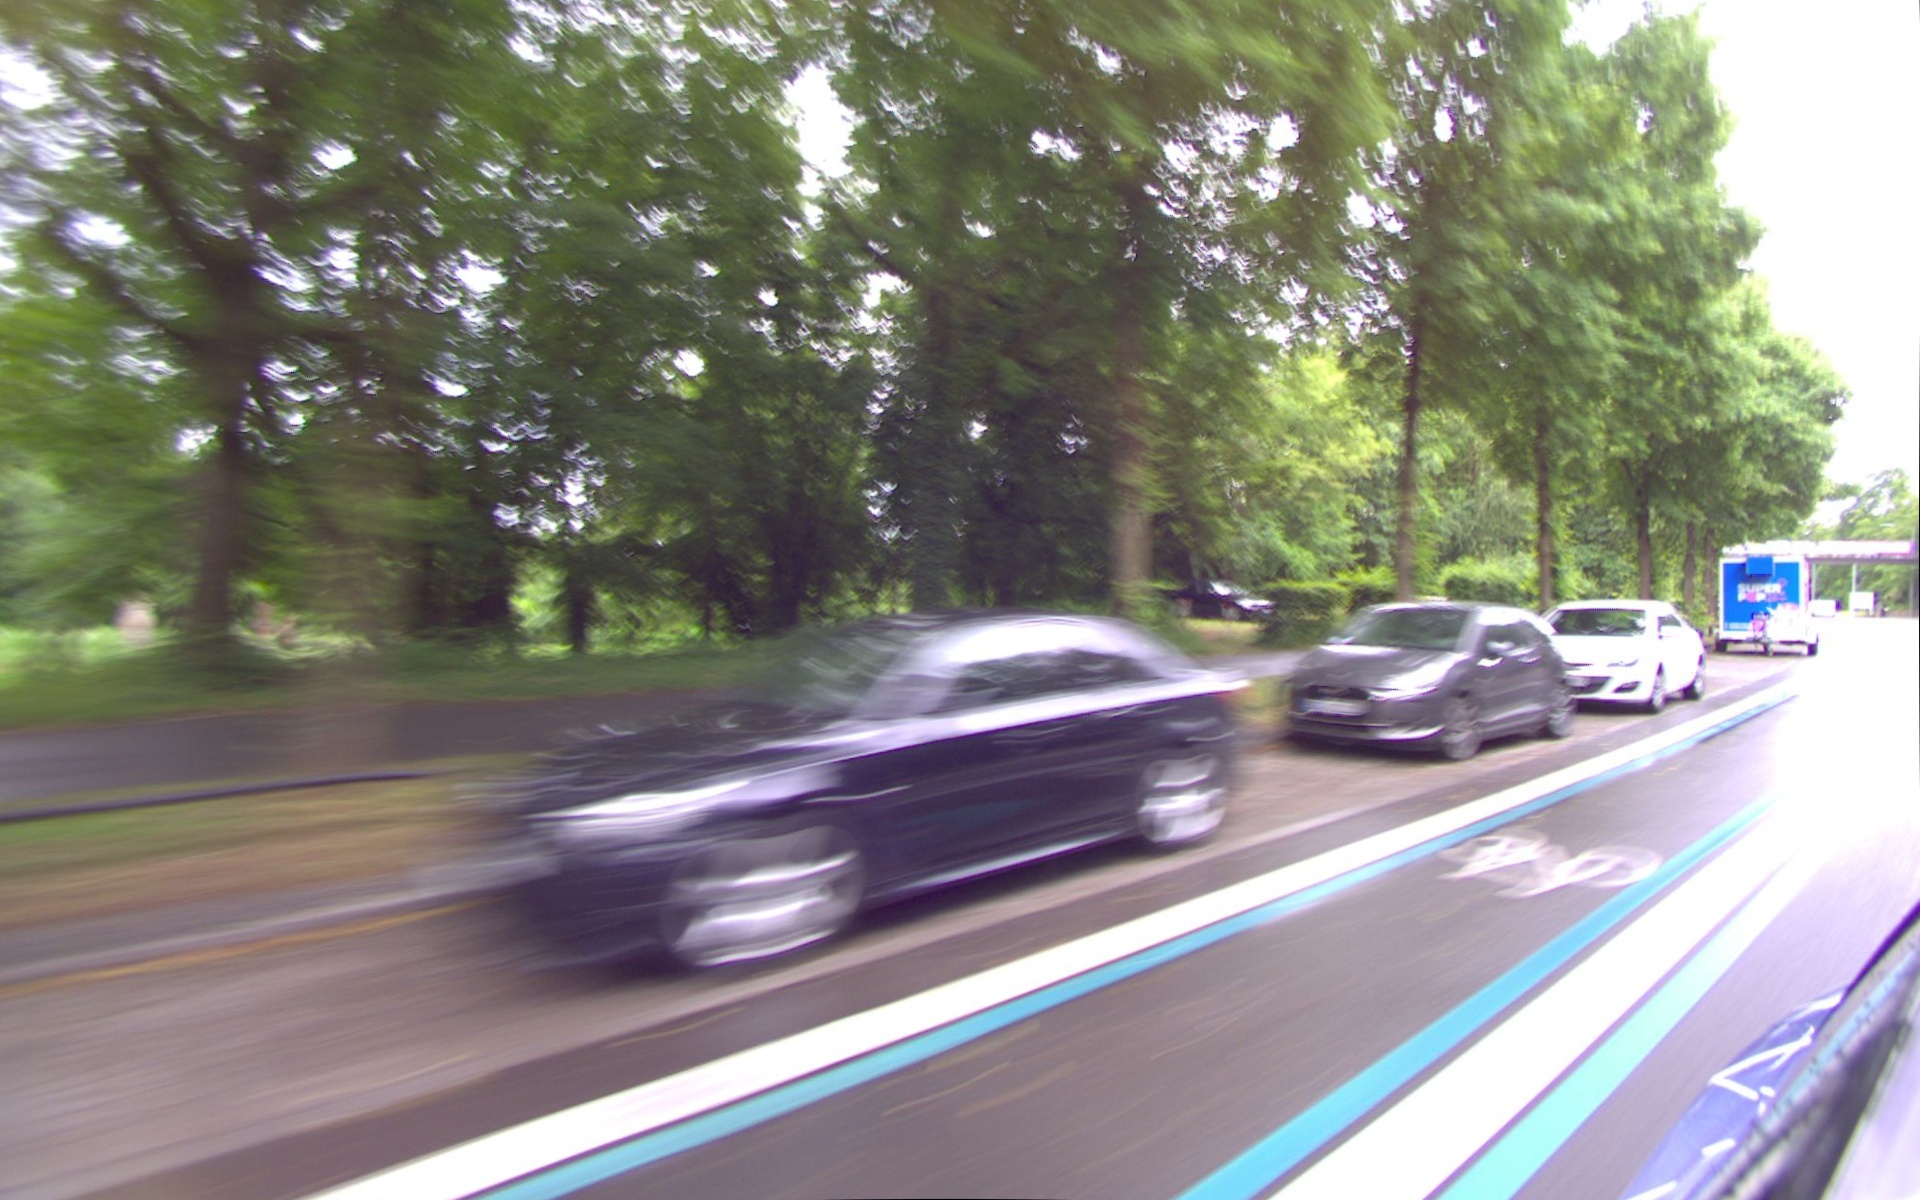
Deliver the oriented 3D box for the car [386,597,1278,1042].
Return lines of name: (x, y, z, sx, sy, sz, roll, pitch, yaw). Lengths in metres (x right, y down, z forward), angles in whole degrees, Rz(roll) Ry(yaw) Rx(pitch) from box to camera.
car: (-0.299, 0.726, 5.611, 4.763, 1.425, 1.784, -1, 0, -42)

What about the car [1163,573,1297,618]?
car: (9.137, -0.192, 34.536, 1.855, 1.338, 4.151, 0, 3, -36)

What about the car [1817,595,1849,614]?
car: (94.000, 0.505, 108.985, 1.972, 1.939, 5.161, 1, -1, 34)

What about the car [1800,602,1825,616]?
car: (101.412, 1.066, 120.446, 1.601, 1.464, 3.991, 3, 0, 32)

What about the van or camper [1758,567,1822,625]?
van or camper: (41.039, -0.215, 50.115, 2.313, 2.698, 6.291, 0, 0, 39)

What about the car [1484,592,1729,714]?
car: (9.340, 0.633, 14.461, 4.571, 1.446, 1.861, -1, 0, -43)

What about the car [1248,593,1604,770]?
car: (4.942, 0.677, 10.461, 4.241, 1.446, 1.686, -1, 0, -40)

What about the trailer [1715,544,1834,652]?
trailer: (22.710, -0.064, 28.127, 2.315, 2.706, 5.294, 0, 0, 42)

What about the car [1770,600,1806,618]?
car: (68.695, 0.747, 84.000, 1.815, 1.481, 3.837, 0, -1, 32)
